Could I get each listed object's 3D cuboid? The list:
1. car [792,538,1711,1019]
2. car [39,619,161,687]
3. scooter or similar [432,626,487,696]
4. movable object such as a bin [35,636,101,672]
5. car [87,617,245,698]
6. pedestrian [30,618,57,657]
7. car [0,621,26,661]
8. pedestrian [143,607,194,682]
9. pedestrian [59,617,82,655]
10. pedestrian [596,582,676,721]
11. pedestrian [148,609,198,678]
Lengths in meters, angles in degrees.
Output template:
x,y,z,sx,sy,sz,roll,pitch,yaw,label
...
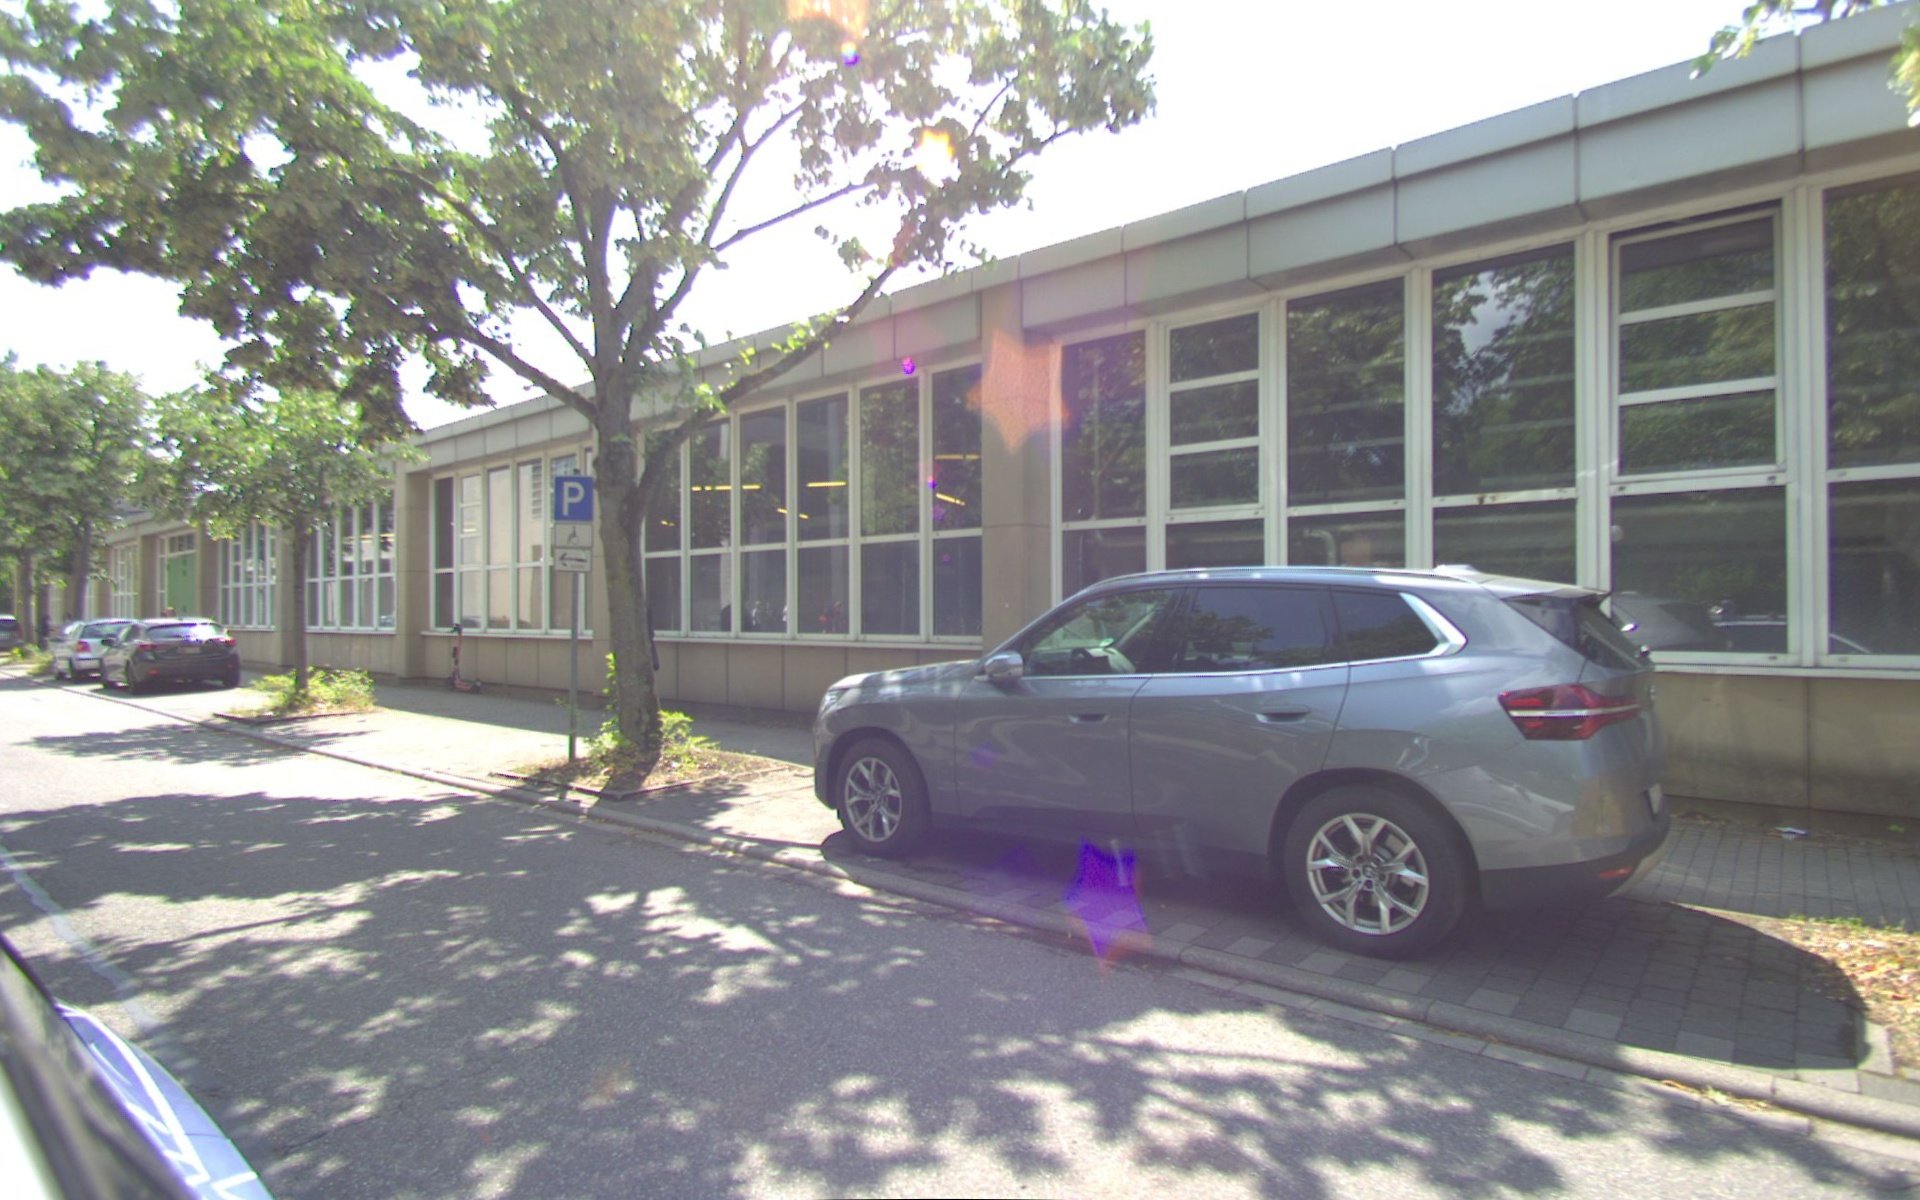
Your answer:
x,y,z,sx,sy,sz,roll,pitch,yaw,label
1.295,0.615,5.572,4.511,1.644,1.804,-1,1,38,car
-20.920,1.232,24.571,3.749,1.460,1.613,-1,1,40,car
-9.074,1.093,18.321,1.245,1.216,0.379,-2,0,40,scooter or similar
-27.044,1.631,30.682,1.695,0.992,1.278,-2,0,41,movable object such as a bin
-16.527,1.146,20.996,4.286,1.446,1.708,-2,0,40,car
-37.720,1.540,41.648,0.595,1.593,0.553,1,-3,-19,pedestrian
-37.638,1.608,39.114,3.673,1.460,1.781,-1,1,40,car
-18.764,1.036,23.987,0.599,1.741,0.789,-1,-1,31,pedestrian
-37.123,1.509,42.233,0.550,1.593,0.598,-2,-4,38,pedestrian
-4.380,0.681,13.684,0.790,1.800,0.661,-2,-1,40,pedestrian
-18.260,0.992,23.496,0.663,1.553,0.787,-1,-1,39,pedestrian
